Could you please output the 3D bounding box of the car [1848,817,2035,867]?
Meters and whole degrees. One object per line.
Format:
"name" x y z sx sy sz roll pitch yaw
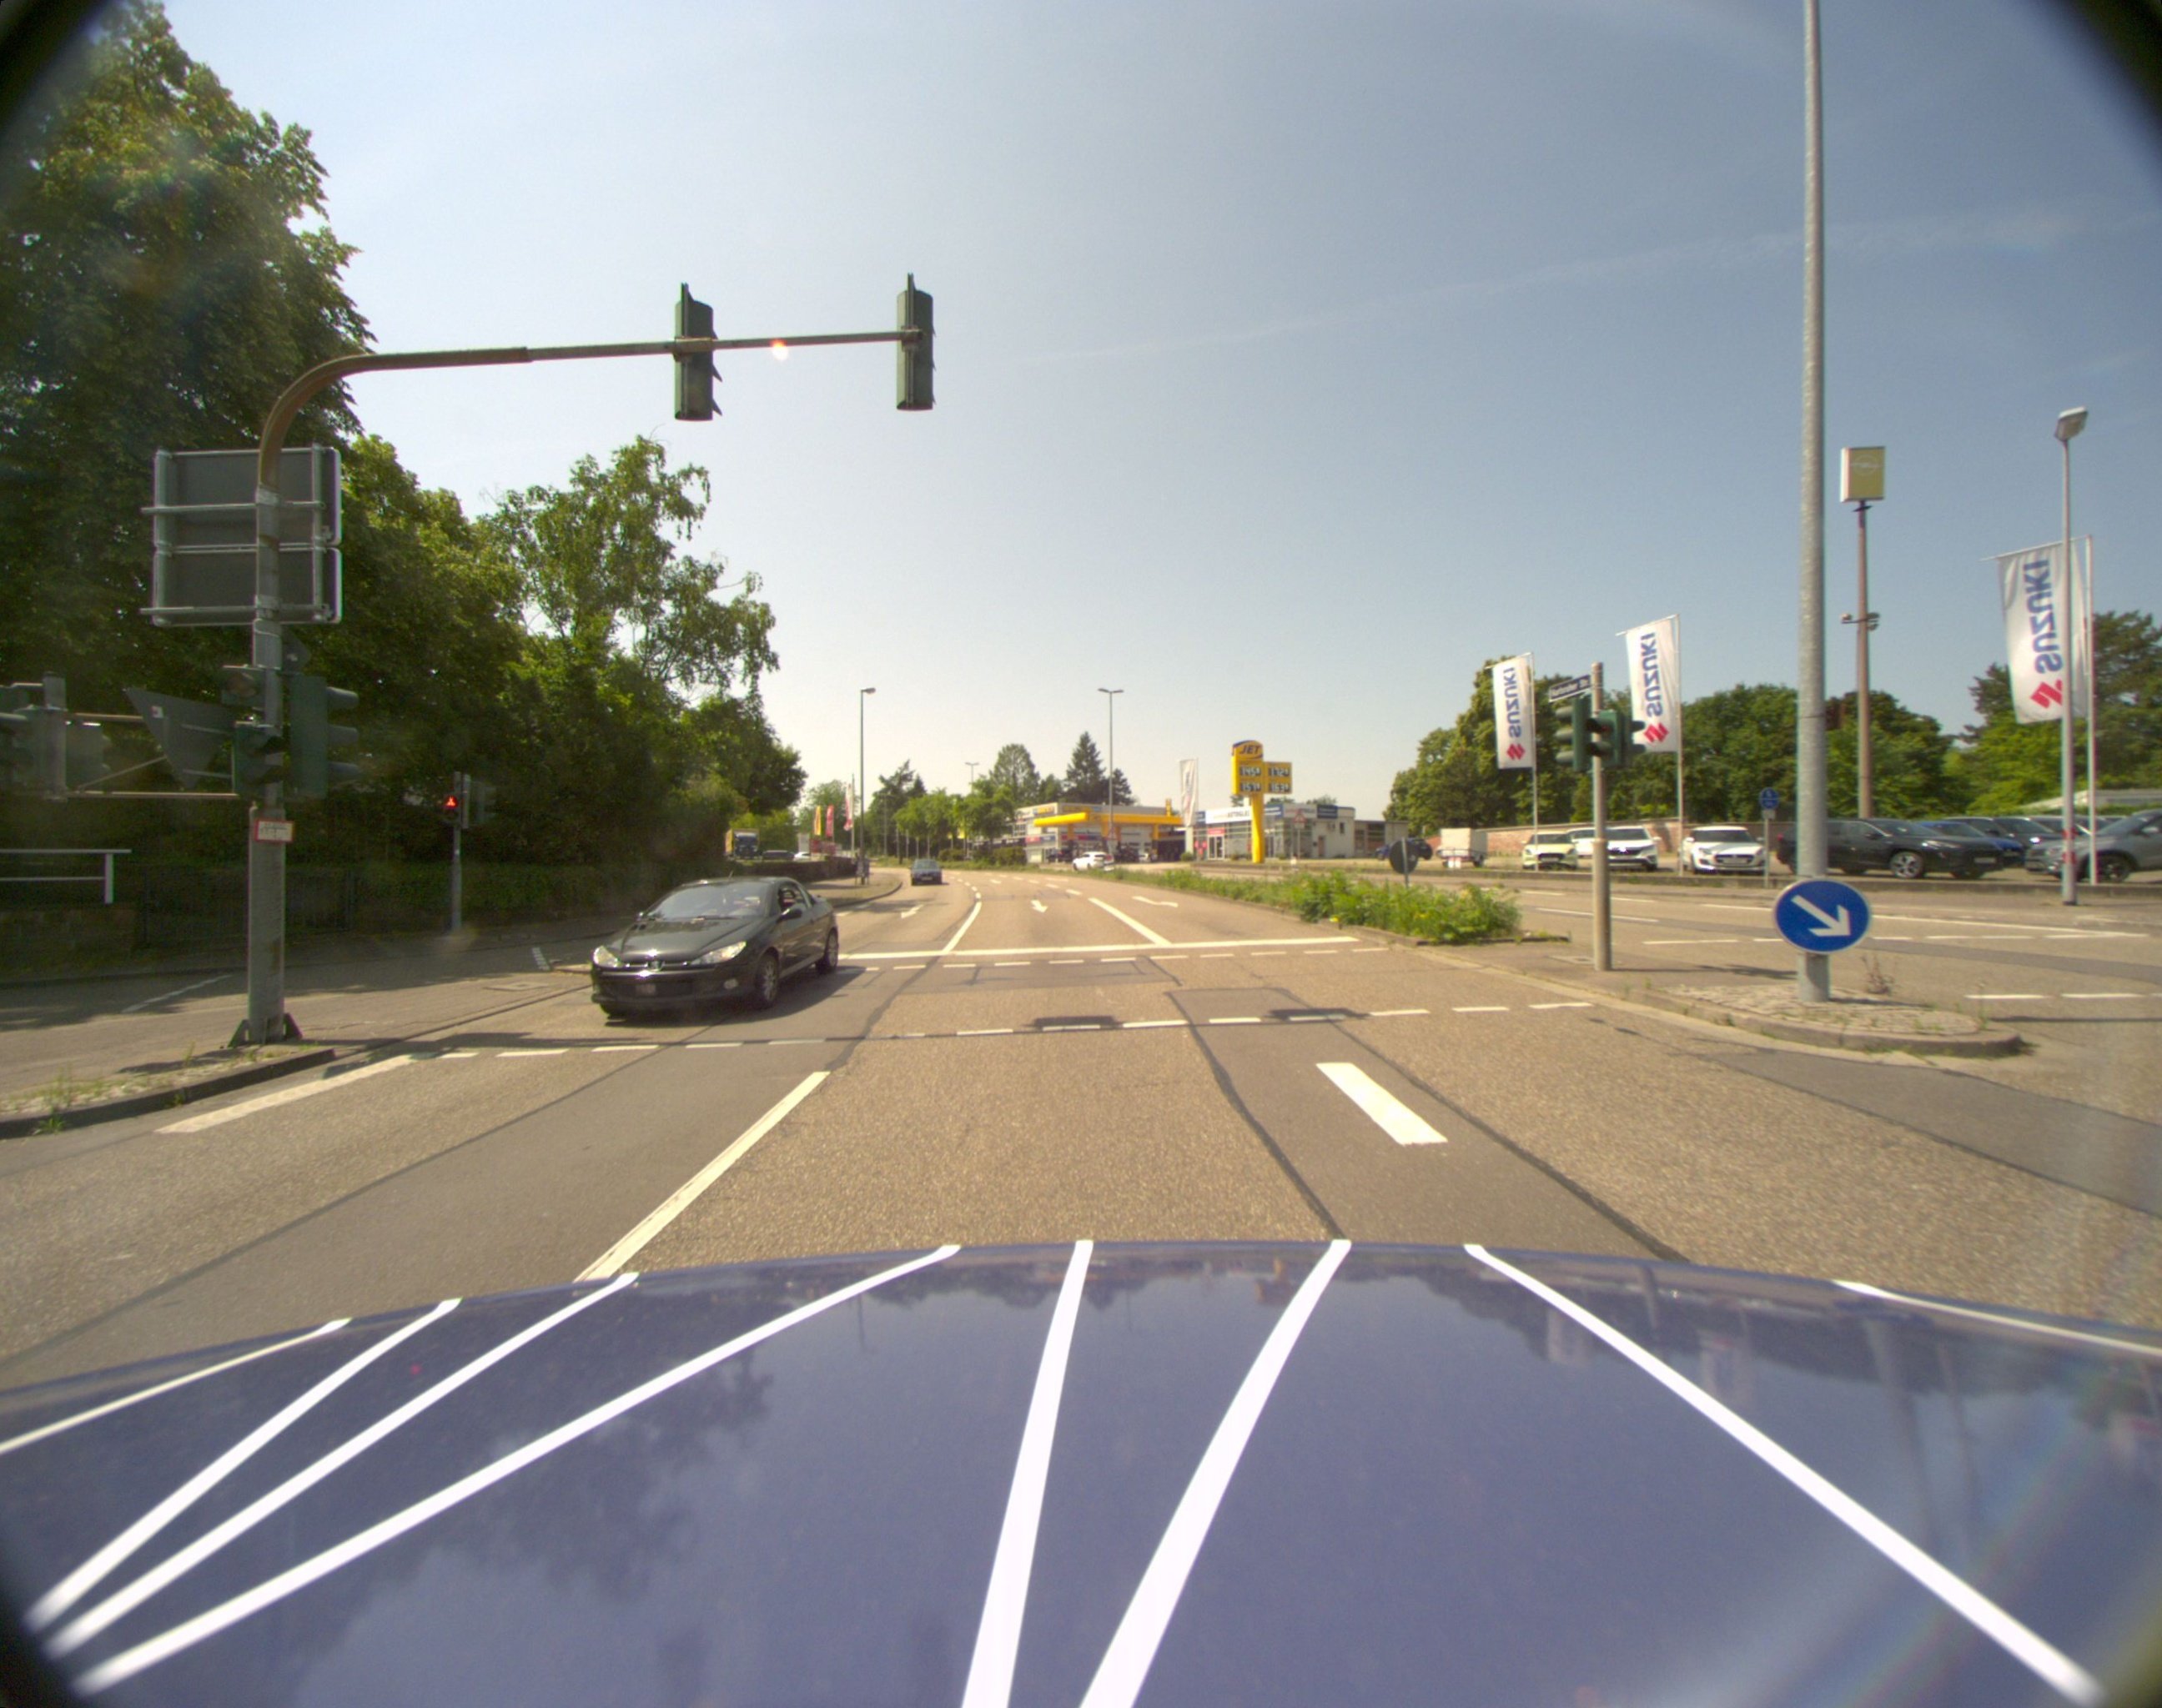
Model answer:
"car" 29.205 -0.411 26.002 1.795 1.528 3.998 -2 1 -2

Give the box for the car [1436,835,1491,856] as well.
"car" 29.496 -0.647 58.678 1.621 1.497 3.624 -2 1 -21

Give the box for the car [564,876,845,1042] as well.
"car" -4.087 1.032 8.945 1.604 1.416 3.660 -1 0 -3

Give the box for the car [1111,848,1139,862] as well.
"car" 5.206 0.085 90.102 1.658 1.534 4.205 -3 1 -23

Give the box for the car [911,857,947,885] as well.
"car" -8.339 0.880 41.494 1.699 1.366 3.994 -1 1 -15

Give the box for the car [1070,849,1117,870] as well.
"car" 0.909 0.449 59.120 1.876 1.416 4.261 -1 -2 -26

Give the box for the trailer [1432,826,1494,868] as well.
"trailer" 16.334 -0.313 32.478 1.689 1.694 2.439 -1 1 44

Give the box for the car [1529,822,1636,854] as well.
"car" 27.381 -0.834 41.717 1.696 1.640 4.748 -2 1 -23

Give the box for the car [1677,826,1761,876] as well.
"car" 20.047 -0.142 24.014 1.711 1.424 3.970 0 2 35

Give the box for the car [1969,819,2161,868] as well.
"car" 34.003 -0.373 26.287 1.795 1.528 3.998 -2 1 -2

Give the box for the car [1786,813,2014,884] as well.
"car" 22.264 -0.191 20.929 1.845 1.714 4.012 -1 2 -4

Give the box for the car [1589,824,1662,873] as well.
"car" 18.912 -0.235 26.373 1.913 1.532 3.970 -1 1 37

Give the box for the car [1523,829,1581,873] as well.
"car" 17.822 -0.139 28.762 1.753 1.501 3.827 -1 1 32

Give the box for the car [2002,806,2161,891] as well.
"car" 24.909 -0.148 17.496 4.297 1.891 1.833 1 3 34

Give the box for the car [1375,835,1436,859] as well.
"car" 21.637 -0.455 50.829 1.696 1.497 3.624 -2 1 -21
